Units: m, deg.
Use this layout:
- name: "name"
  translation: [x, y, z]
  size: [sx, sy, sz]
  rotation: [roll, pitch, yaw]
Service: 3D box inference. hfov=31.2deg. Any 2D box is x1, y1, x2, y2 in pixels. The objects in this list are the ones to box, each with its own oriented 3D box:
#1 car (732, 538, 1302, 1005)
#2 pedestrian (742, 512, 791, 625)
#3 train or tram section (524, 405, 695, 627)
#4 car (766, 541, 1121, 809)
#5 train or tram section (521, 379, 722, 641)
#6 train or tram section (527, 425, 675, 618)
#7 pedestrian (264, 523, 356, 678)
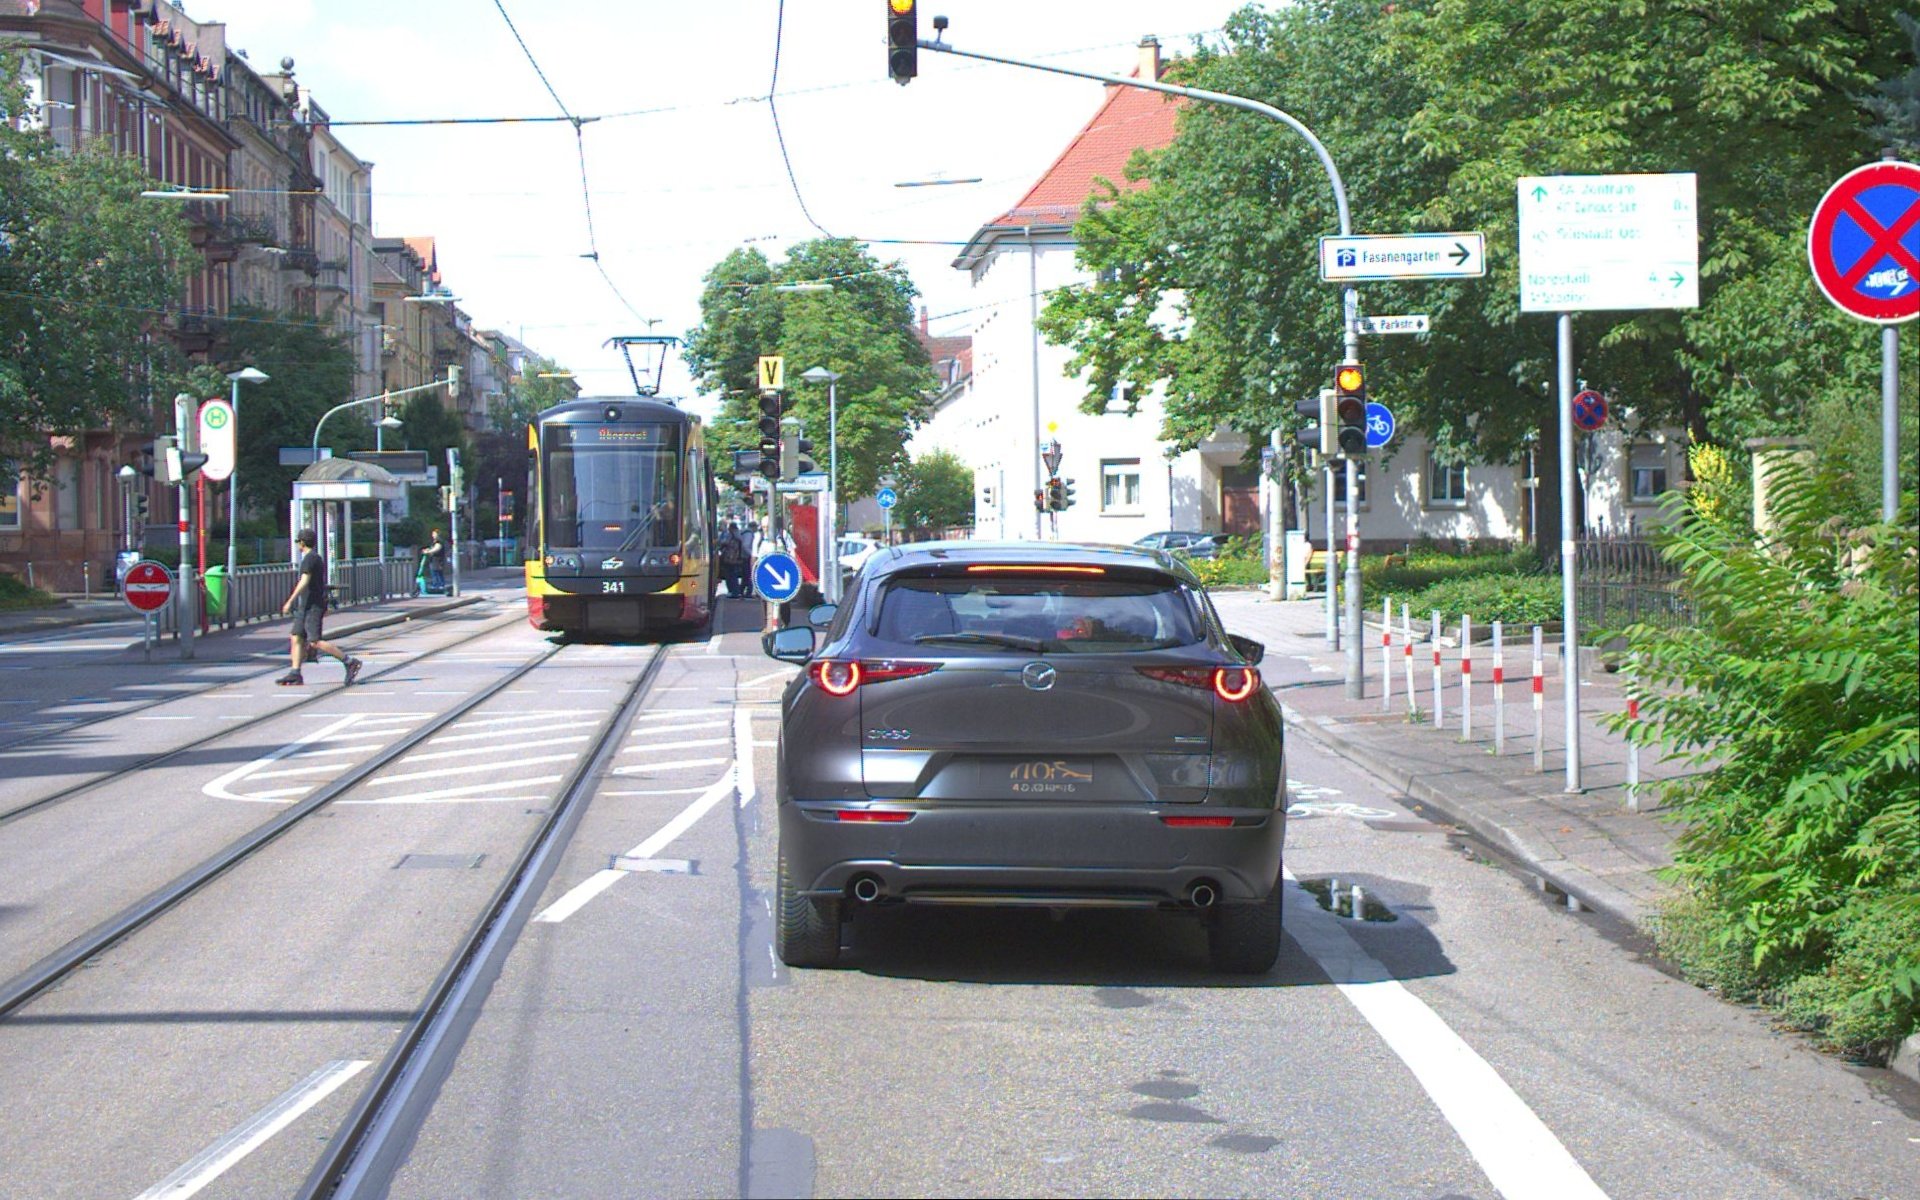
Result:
- name: "car"
  translation: [0.050, 0.528, 13.506]
  size: [1.789, 1.507, 4.352]
  rotation: [0, 1, -5]
- name: "pedestrian"
  translation: [-2.766, -0.458, 49.087]
  size: [0.667, 1.599, 0.700]
  rotation: [-1, 1, -5]
- name: "train or tram section"
  translation: [-6.158, -1.409, 59.696]
  size: [2.651, 3.515, 8.498]
  rotation: [-2, 1, -7]
- name: "car"
  translation: [-0.226, 0.389, 22.386]
  size: [1.784, 1.487, 4.884]
  rotation: [-1, 1, -6]
- name: "train or tram section"
  translation: [-5.136, -1.293, 51.256]
  size: [2.651, 3.515, 8.498]
  rotation: [-2, 1, -7]
- name: "train or tram section"
  translation: [-7.175, -1.524, 68.152]
  size: [2.651, 3.515, 8.498]
  rotation: [-2, 1, -7]
- name: "pedestrian"
  translation: [-6.795, -0.004, 35.960]
  size: [0.874, 1.599, 0.632]
  rotation: [-1, 1, -5]
